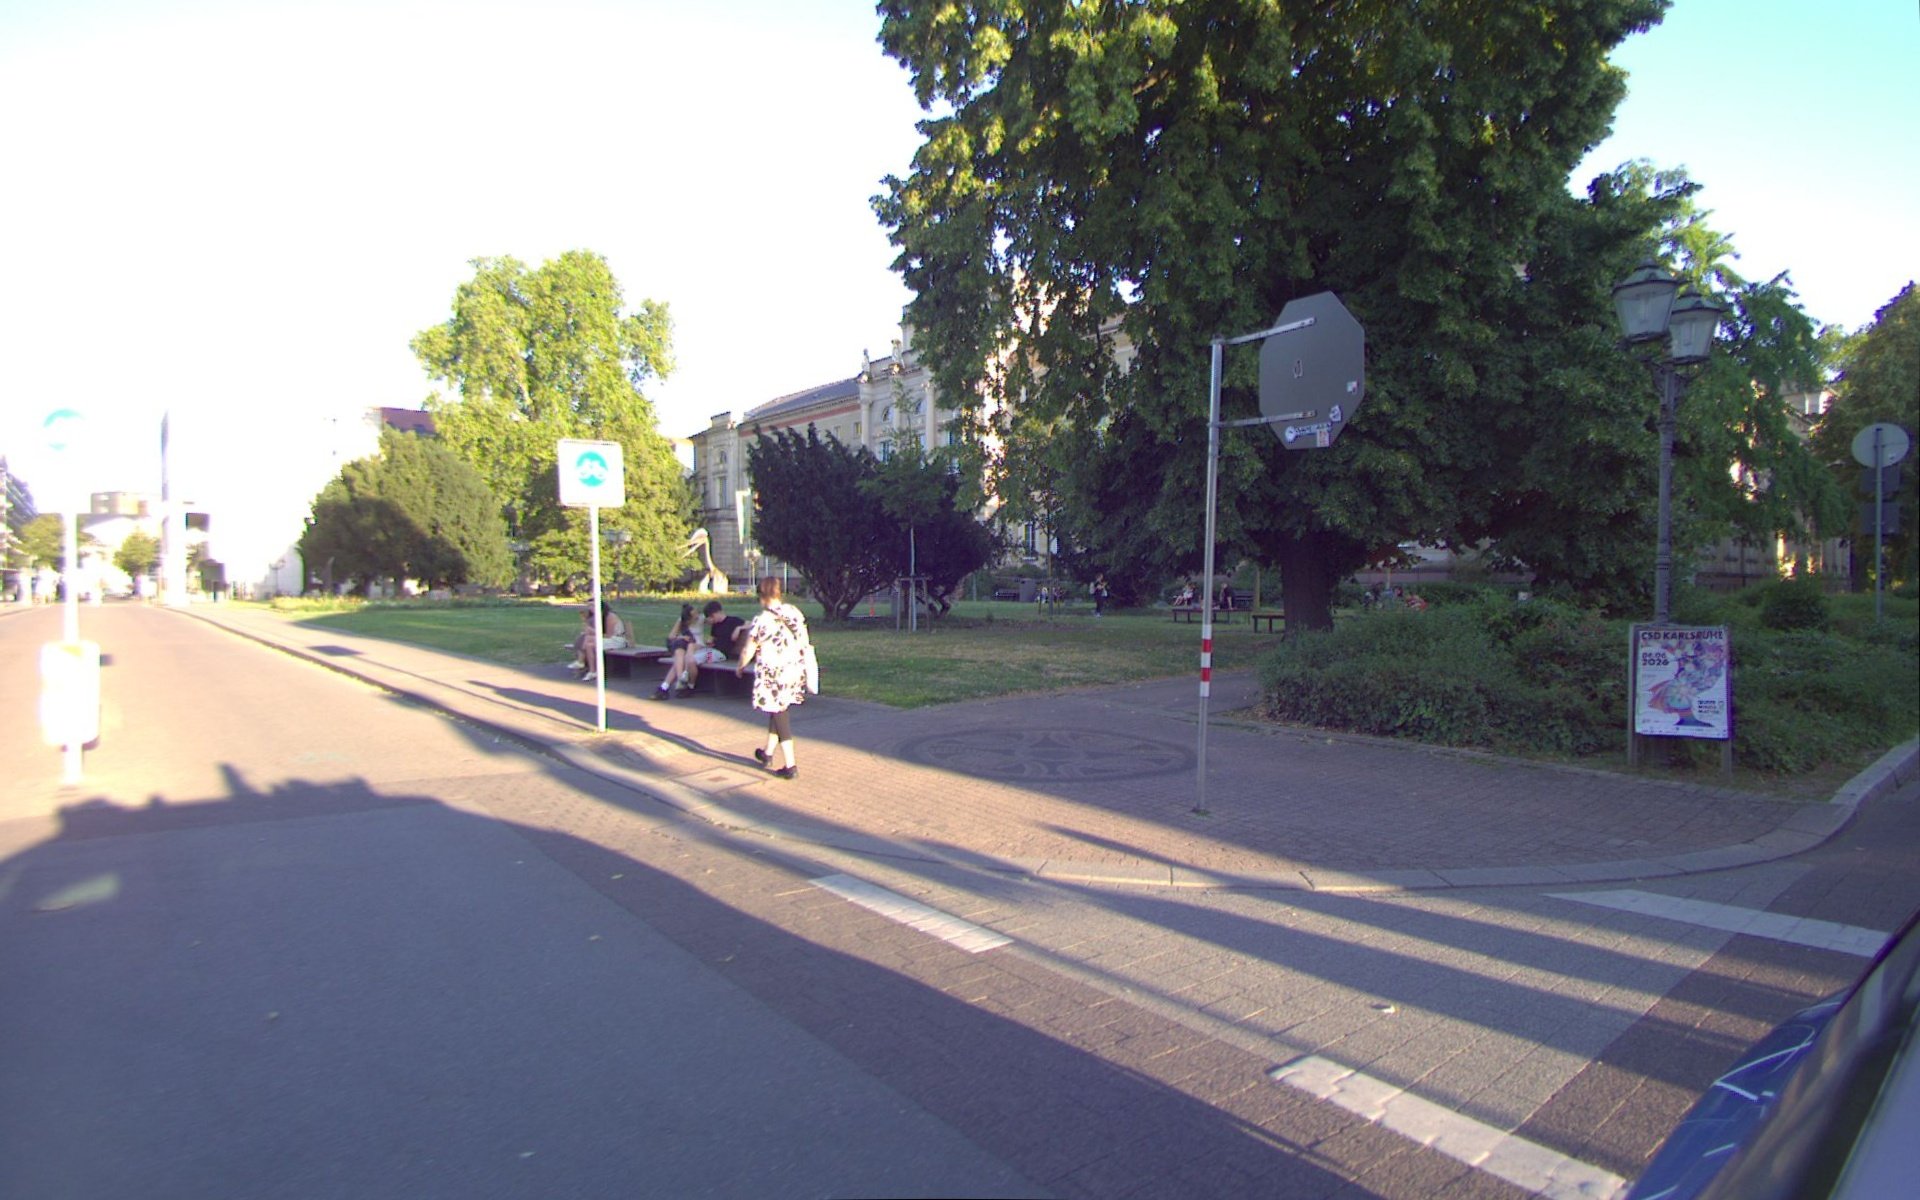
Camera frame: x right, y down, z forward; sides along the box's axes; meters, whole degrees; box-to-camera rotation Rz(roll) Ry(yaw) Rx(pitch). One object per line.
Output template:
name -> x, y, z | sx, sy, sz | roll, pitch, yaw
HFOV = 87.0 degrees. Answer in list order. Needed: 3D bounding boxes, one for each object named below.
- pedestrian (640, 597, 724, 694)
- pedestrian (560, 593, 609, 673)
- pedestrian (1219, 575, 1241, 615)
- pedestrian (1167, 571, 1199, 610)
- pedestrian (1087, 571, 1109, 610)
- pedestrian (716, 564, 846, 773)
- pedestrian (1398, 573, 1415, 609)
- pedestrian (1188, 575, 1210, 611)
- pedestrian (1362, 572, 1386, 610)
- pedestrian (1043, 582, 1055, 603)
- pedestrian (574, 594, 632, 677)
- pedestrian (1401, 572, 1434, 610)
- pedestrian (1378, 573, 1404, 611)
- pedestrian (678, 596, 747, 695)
pedestrian -> -3.696, 0.577, 13.493 | 0.526, 1.219, 0.955 | 1, 1, 44
pedestrian -> -5.989, 0.508, 16.151 | 0.499, 1.229, 0.583 | 1, 1, 44
pedestrian -> 8.343, -0.156, 31.246 | 0.594, 1.217, 0.394 | 0, 1, 9
pedestrian -> 12.021, -0.507, 54.633 | 0.965, 2.039, 1.393 | 1, 0, -43
pedestrian -> 5.321, -0.374, 38.896 | 0.742, 1.462, 0.815 | 1, 1, 15
pedestrian -> -1.515, 0.523, 8.552 | 0.744, 1.646, 0.858 | -1, 1, -42
pedestrian -> 13.078, -0.270, 29.638 | 0.390, 1.063, 0.600 | 1, 1, 19
pedestrian -> 7.452, -0.213, 31.555 | 0.593, 1.123, 0.395 | 0, 1, 5
pedestrian -> 11.991, -0.264, 29.340 | 0.596, 1.063, 0.393 | 1, 1, 17
pedestrian -> 5.463, -0.448, 62.346 | 0.499, 1.304, 0.583 | 1, 1, 44
pedestrian -> -5.535, 0.531, 15.681 | 0.606, 1.229, 0.656 | 1, 1, 44
pedestrian -> 13.060, -0.267, 28.929 | 0.785, 1.063, 0.394 | 1, 1, 14
pedestrian -> 12.158, -0.239, 28.551 | 0.595, 1.063, 0.394 | 1, 1, 14
pedestrian -> -3.217, 0.567, 13.141 | 0.606, 1.219, 0.656 | 1, 1, 44
